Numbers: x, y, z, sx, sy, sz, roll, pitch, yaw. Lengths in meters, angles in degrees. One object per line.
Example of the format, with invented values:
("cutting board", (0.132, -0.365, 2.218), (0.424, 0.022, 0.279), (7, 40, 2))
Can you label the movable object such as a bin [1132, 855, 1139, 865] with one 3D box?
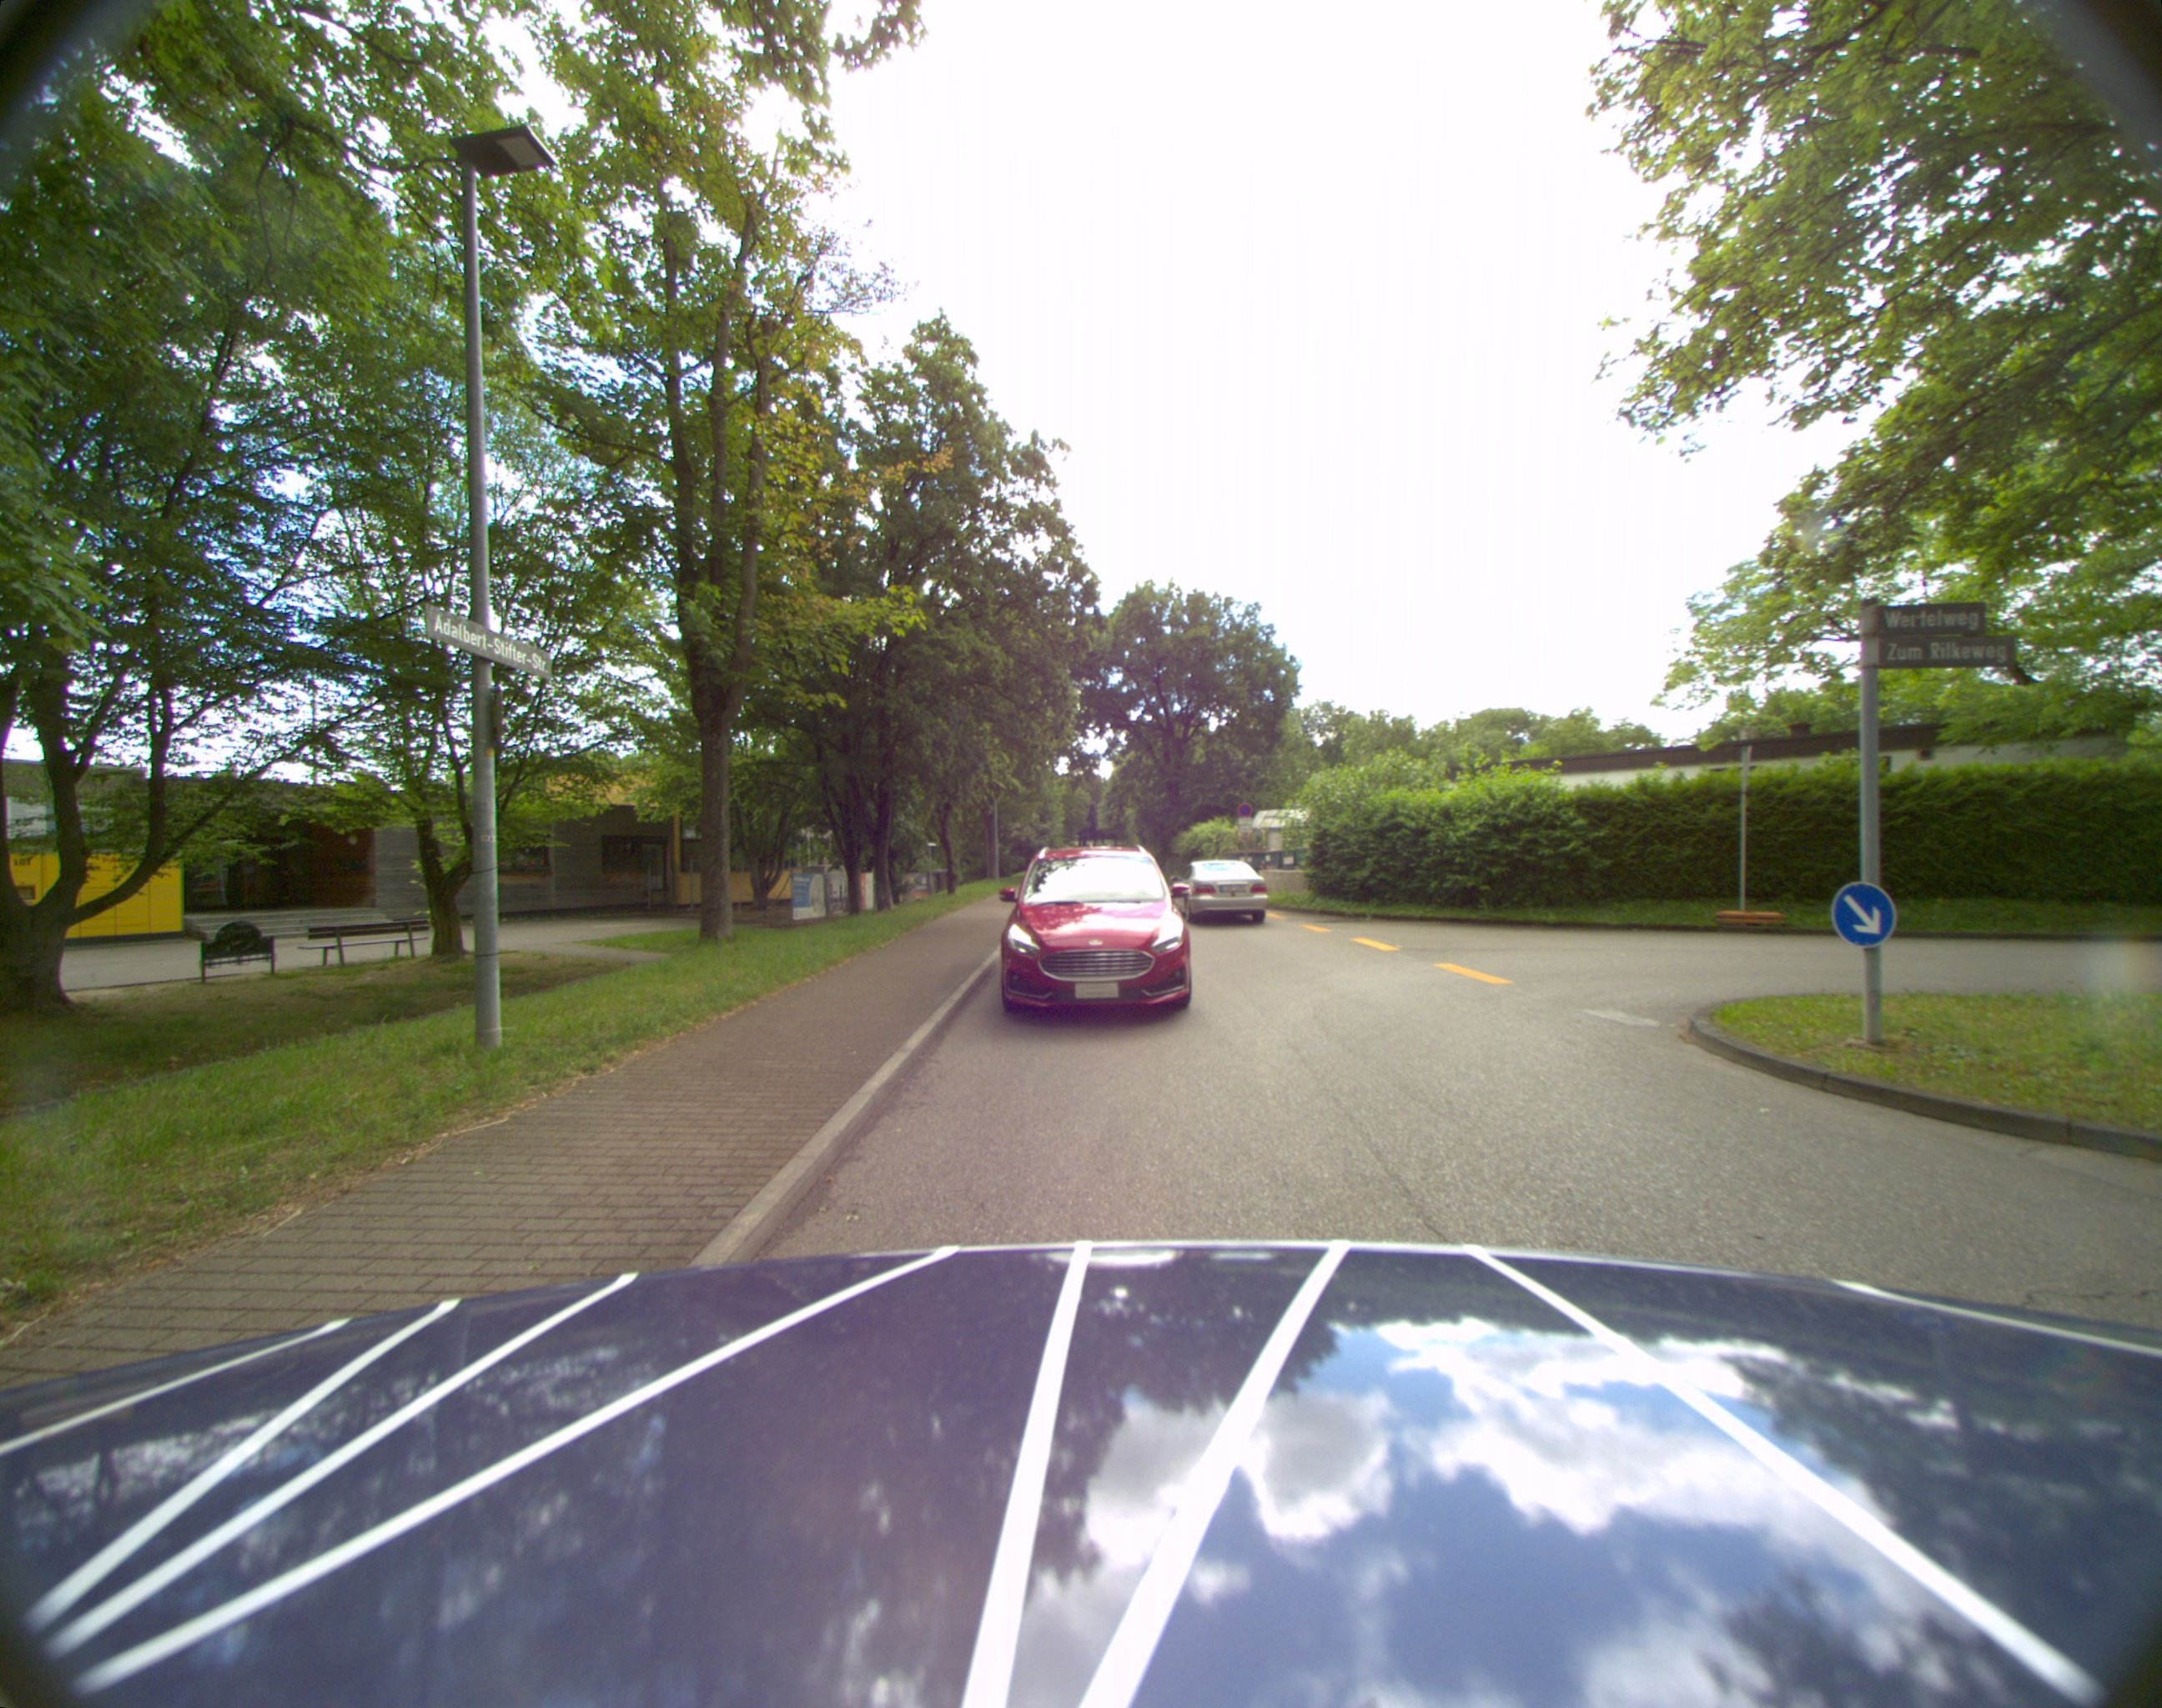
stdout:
("movable object such as a bin", (5.378, 0.599, 75.030), (0.649, 1.007, 0.632), (1, 2, 16))

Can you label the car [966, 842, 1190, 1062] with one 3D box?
("car", (0.162, 0.762, 8.226), (1.816, 1.718, 4.001), (1, 2, 6))

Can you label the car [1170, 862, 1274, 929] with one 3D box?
("car", (3.139, 0.873, 17.696), (1.785, 1.299, 4.297), (-2, 0, 3))
